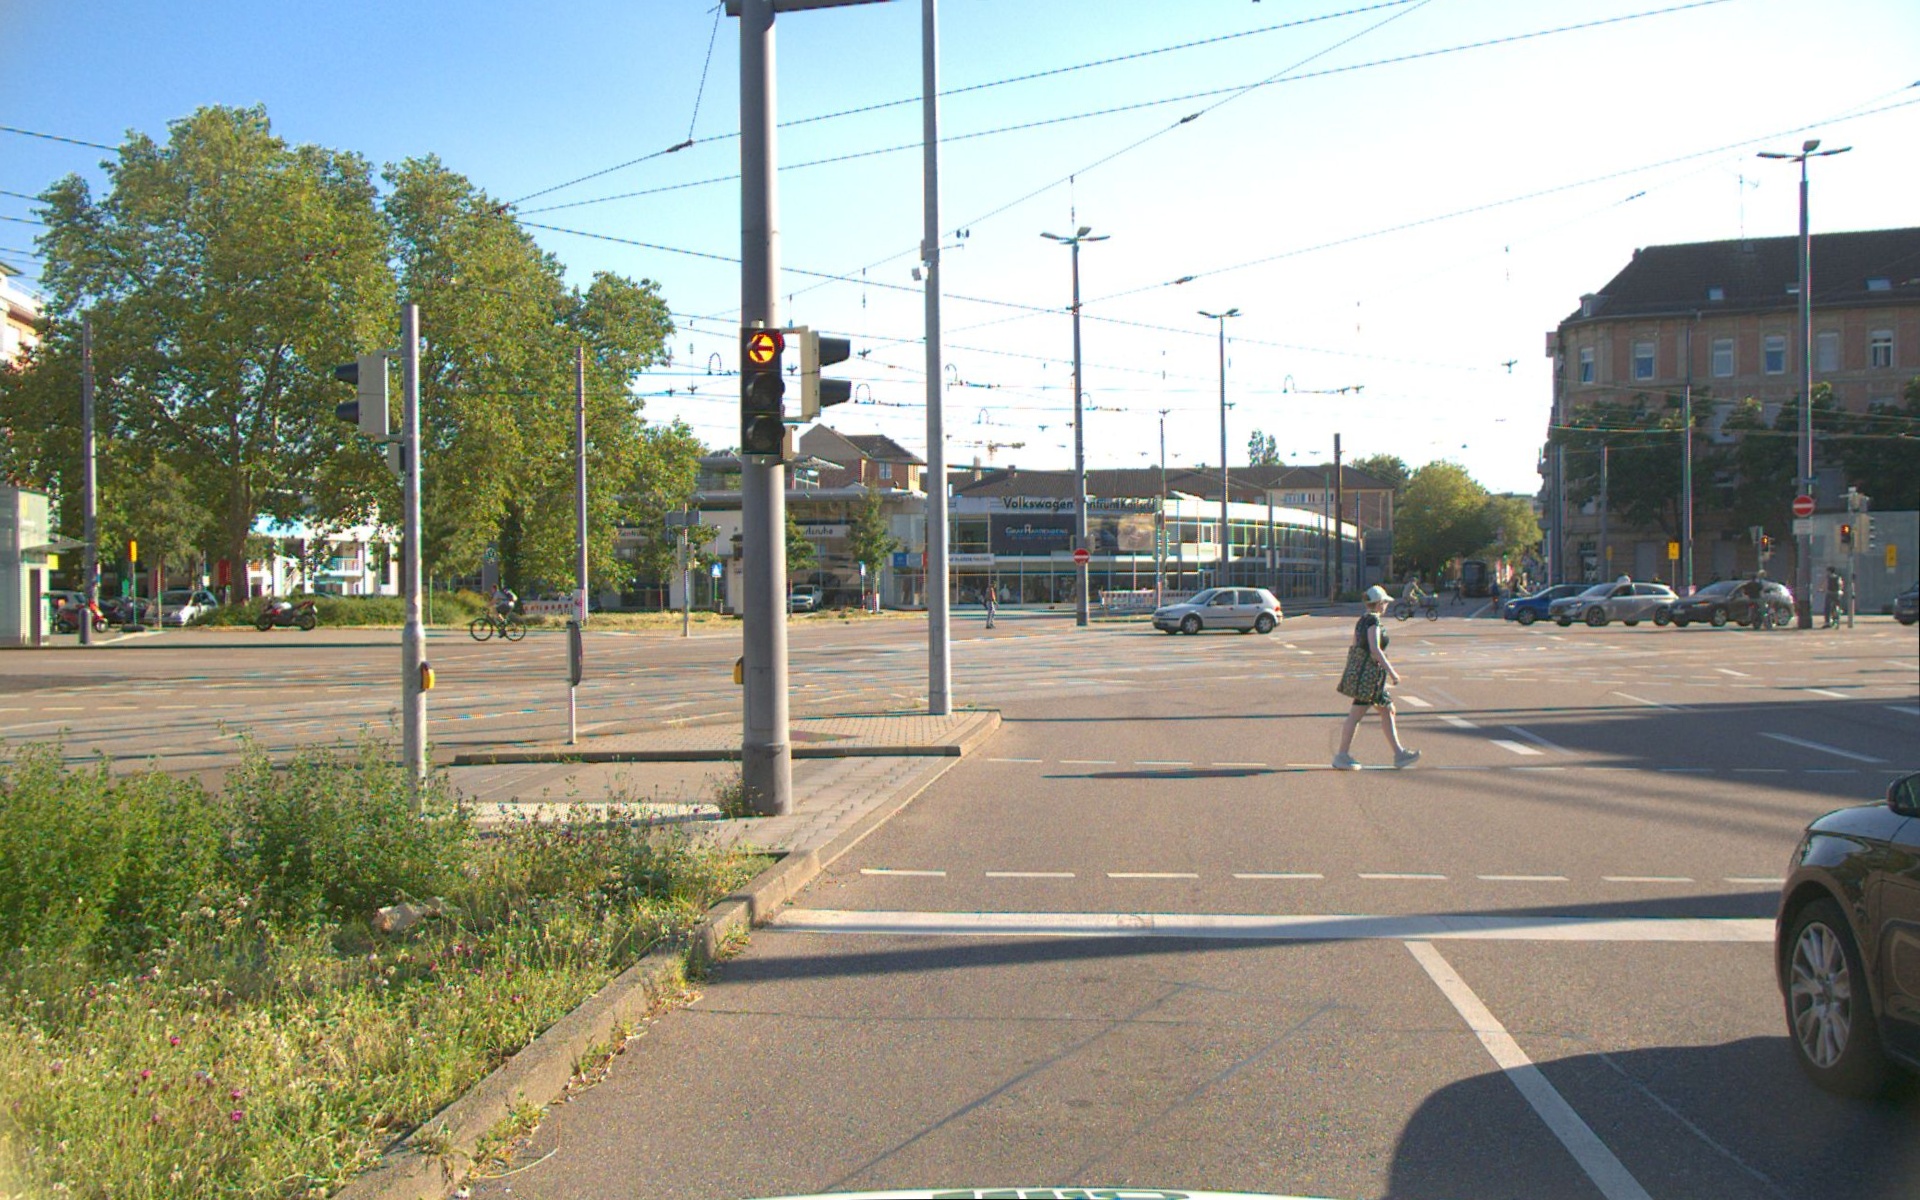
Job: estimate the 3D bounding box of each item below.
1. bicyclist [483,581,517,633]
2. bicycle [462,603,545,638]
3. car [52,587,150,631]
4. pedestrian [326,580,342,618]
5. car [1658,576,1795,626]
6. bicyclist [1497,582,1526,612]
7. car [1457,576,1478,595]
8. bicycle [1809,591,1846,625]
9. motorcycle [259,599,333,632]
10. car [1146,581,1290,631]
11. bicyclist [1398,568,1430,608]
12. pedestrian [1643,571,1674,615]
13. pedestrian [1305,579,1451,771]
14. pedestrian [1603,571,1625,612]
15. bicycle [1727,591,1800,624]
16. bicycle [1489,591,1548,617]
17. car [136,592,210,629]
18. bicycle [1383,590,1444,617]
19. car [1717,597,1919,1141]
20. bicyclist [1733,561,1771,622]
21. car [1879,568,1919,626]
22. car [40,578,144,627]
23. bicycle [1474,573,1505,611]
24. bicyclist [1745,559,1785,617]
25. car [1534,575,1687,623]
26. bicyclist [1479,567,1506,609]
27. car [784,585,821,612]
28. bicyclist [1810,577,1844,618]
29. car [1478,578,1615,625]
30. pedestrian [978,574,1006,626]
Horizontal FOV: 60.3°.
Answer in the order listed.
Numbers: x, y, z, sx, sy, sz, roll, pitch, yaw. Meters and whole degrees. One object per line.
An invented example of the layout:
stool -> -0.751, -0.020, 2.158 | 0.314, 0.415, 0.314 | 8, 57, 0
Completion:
bicyclist -> -14.243, 0.204, 51.265 | 0.907, 1.587, 0.961 | -1, 0, -10
bicycle -> -14.131, 0.634, 51.287 | 2.394, 1.021, 0.961 | -1, 0, -10
car -> -39.496, 0.387, 76.026 | 3.945, 1.889, 1.835 | -1, 2, -30
pedestrian -> -34.726, -0.062, 91.791 | 0.576, 2.049, 0.711 | 0, 0, 5
car -> 24.469, 0.026, 52.810 | 4.041, 1.512, 1.936 | -1, 0, -28
bicyclist -> 22.020, -0.122, 66.009 | 0.703, 1.162, 0.831 | -1, 2, -24
car -> 47.869, -1.378, 155.909 | 1.764, 1.684, 3.920 | 1, 2, 18
bicycle -> 26.048, 0.231, 49.705 | 0.840, 0.921, 2.302 | 1, 2, 24
motorcycle -> -22.576, 0.517, 56.258 | 2.241, 1.072, 0.686 | 0, 2, -8
car -> 8.011, 0.162, 51.564 | 4.022, 1.477, 1.948 | -1, 0, -12
bicyclist -> 18.063, -0.482, 65.838 | 0.909, 1.586, 0.856 | 0, 2, -17
pedestrian -> 27.666, -0.291, 65.559 | 0.905, 1.705, 0.783 | 1, 0, 5
pedestrian -> 3.680, 0.642, 14.627 | 1.071, 1.634, 0.698 | 0, 2, -5
pedestrian -> 26.771, -0.342, 67.723 | 0.633, 1.682, 0.551 | -1, 0, -32
bicycle -> 24.186, 0.203, 49.764 | 2.272, 0.921, 0.851 | -1, 2, -31
bicycle -> 22.326, 0.160, 66.162 | 2.266, 0.976, 0.854 | -1, 2, -24
car -> -32.994, 0.430, 69.449 | 1.813, 1.477, 3.990 | 0, 0, -11
bicycle -> 18.059, 0.135, 65.831 | 2.260, 0.996, 0.856 | 0, 2, -18
car -> 3.454, 0.755, 3.950 | 1.763, 1.469, 3.981 | 1, 1, 5
bicyclist -> 23.672, -0.267, 49.457 | 0.576, 1.809, 0.859 | 0, 0, -29
car -> 33.687, -0.134, 55.802 | 4.756, 1.926, 1.945 | -1, 0, -16
car -> -37.706, 0.077, 71.900 | 3.945, 2.049, 1.980 | -1, 0, -30
bicycle -> 24.971, -0.385, 77.972 | 1.112, 1.719, 4.000 | 0, 0, 22
bicyclist -> 24.210, -0.378, 49.757 | 0.642, 1.720, 0.852 | -1, 2, -30
car -> 21.774, -0.046, 55.376 | 4.465, 1.544, 1.948 | -1, 0, -13
bicyclist -> 25.097, -0.582, 77.990 | 1.096, 1.933, 1.073 | 1, 2, 23
car -> -10.024, -0.134, 105.573 | 1.953, 1.561, 4.001 | 0, 2, 0
bicyclist -> 26.043, -0.076, 49.689 | 0.840, 1.197, 0.714 | 1, 2, 25
car -> 21.000, 0.042, 59.400 | 4.504, 1.622, 1.955 | 0, 0, 16
pedestrian -> 1.154, -0.009, 59.450 | 0.968, 1.847, 0.920 | 0, 2, 3
